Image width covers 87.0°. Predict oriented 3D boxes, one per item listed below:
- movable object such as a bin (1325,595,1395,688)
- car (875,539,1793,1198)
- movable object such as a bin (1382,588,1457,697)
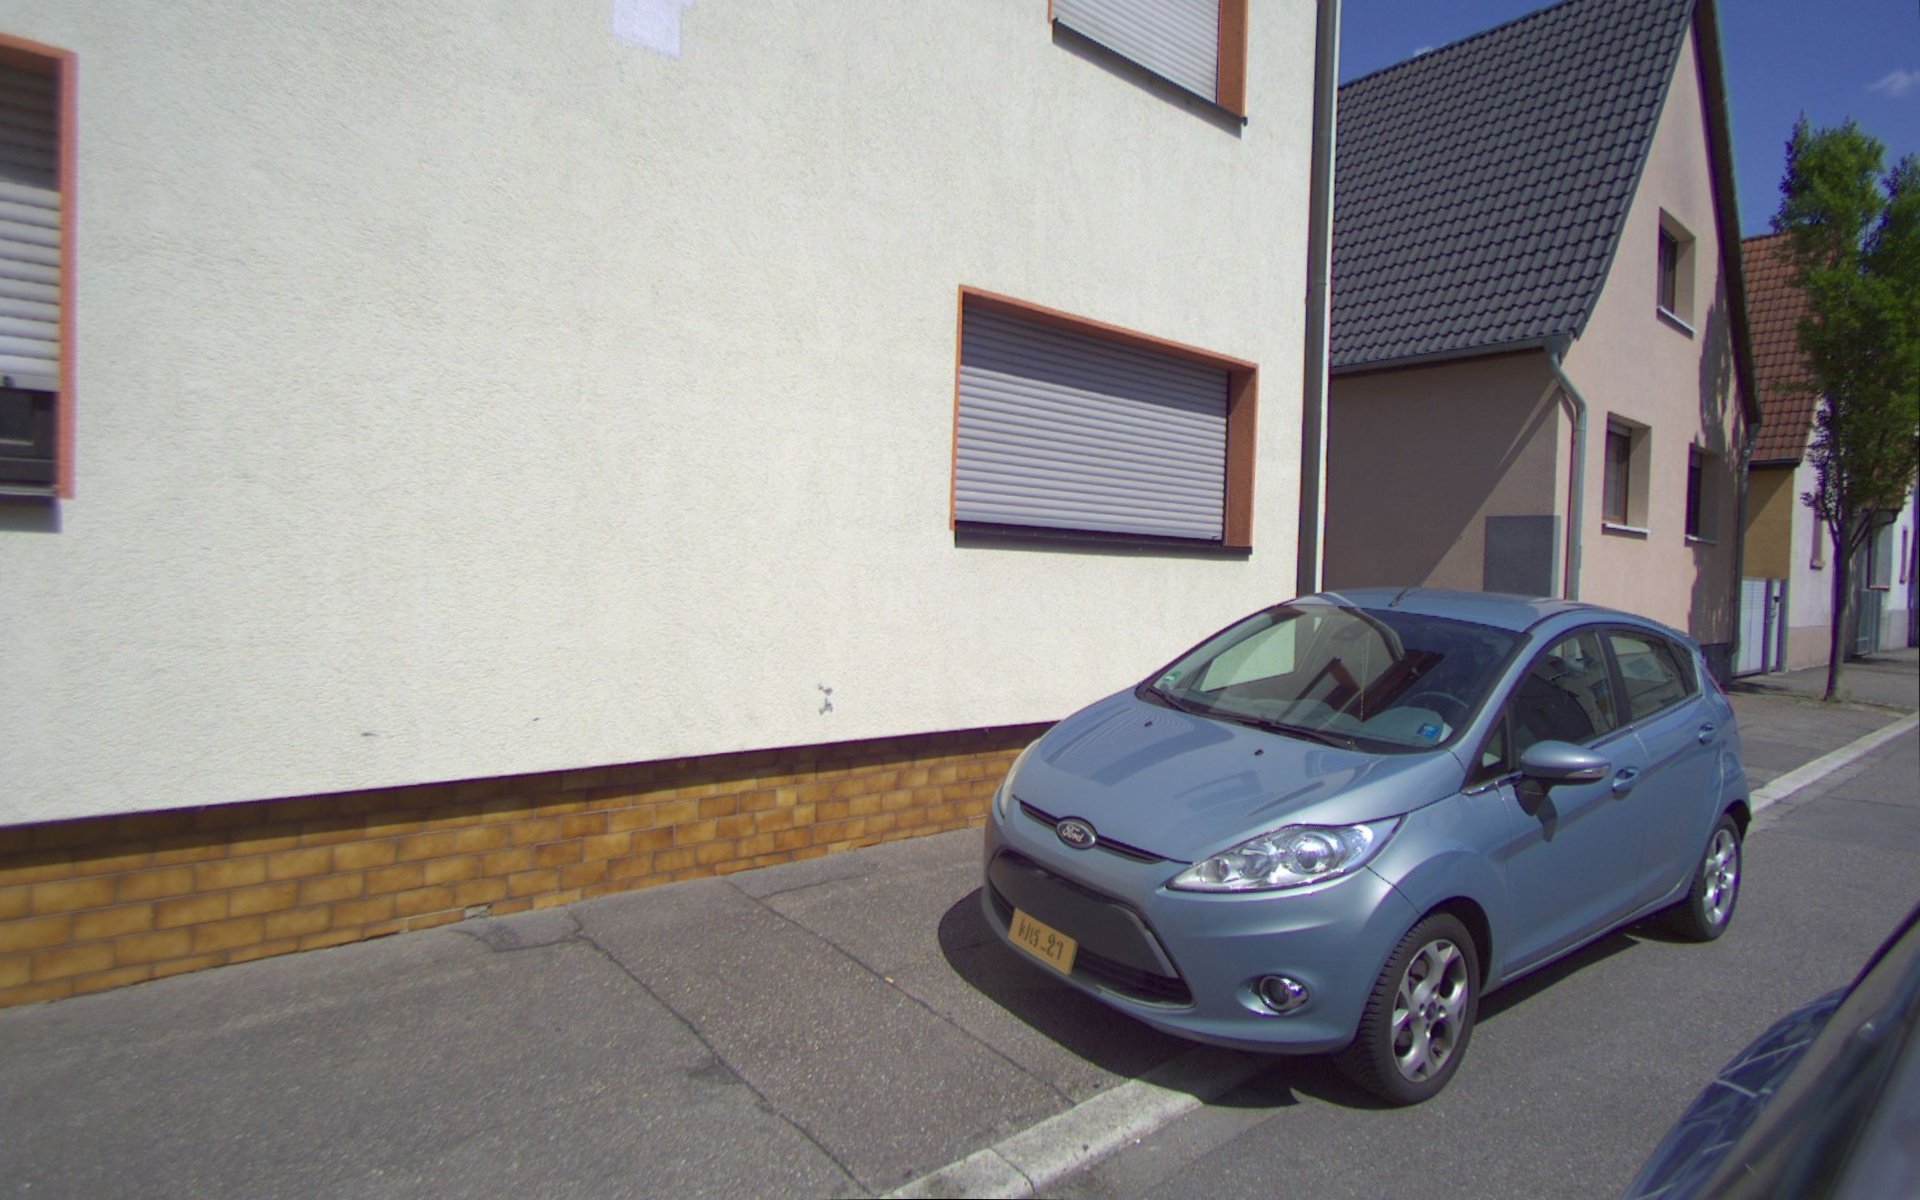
[{"bbox_3d":[4.745,0.472,11.993,0.660,1.041,0.493,0,3,-42],"label":"movable object such as a bin"},{"bbox_3d":[1.704,0.616,4.184,3.679,1.499,1.728,0,5,-36],"label":"car"},{"bbox_3d":[5.200,0.463,11.448,0.687,1.164,0.493,0,3,-42],"label":"movable object such as a bin"}]
